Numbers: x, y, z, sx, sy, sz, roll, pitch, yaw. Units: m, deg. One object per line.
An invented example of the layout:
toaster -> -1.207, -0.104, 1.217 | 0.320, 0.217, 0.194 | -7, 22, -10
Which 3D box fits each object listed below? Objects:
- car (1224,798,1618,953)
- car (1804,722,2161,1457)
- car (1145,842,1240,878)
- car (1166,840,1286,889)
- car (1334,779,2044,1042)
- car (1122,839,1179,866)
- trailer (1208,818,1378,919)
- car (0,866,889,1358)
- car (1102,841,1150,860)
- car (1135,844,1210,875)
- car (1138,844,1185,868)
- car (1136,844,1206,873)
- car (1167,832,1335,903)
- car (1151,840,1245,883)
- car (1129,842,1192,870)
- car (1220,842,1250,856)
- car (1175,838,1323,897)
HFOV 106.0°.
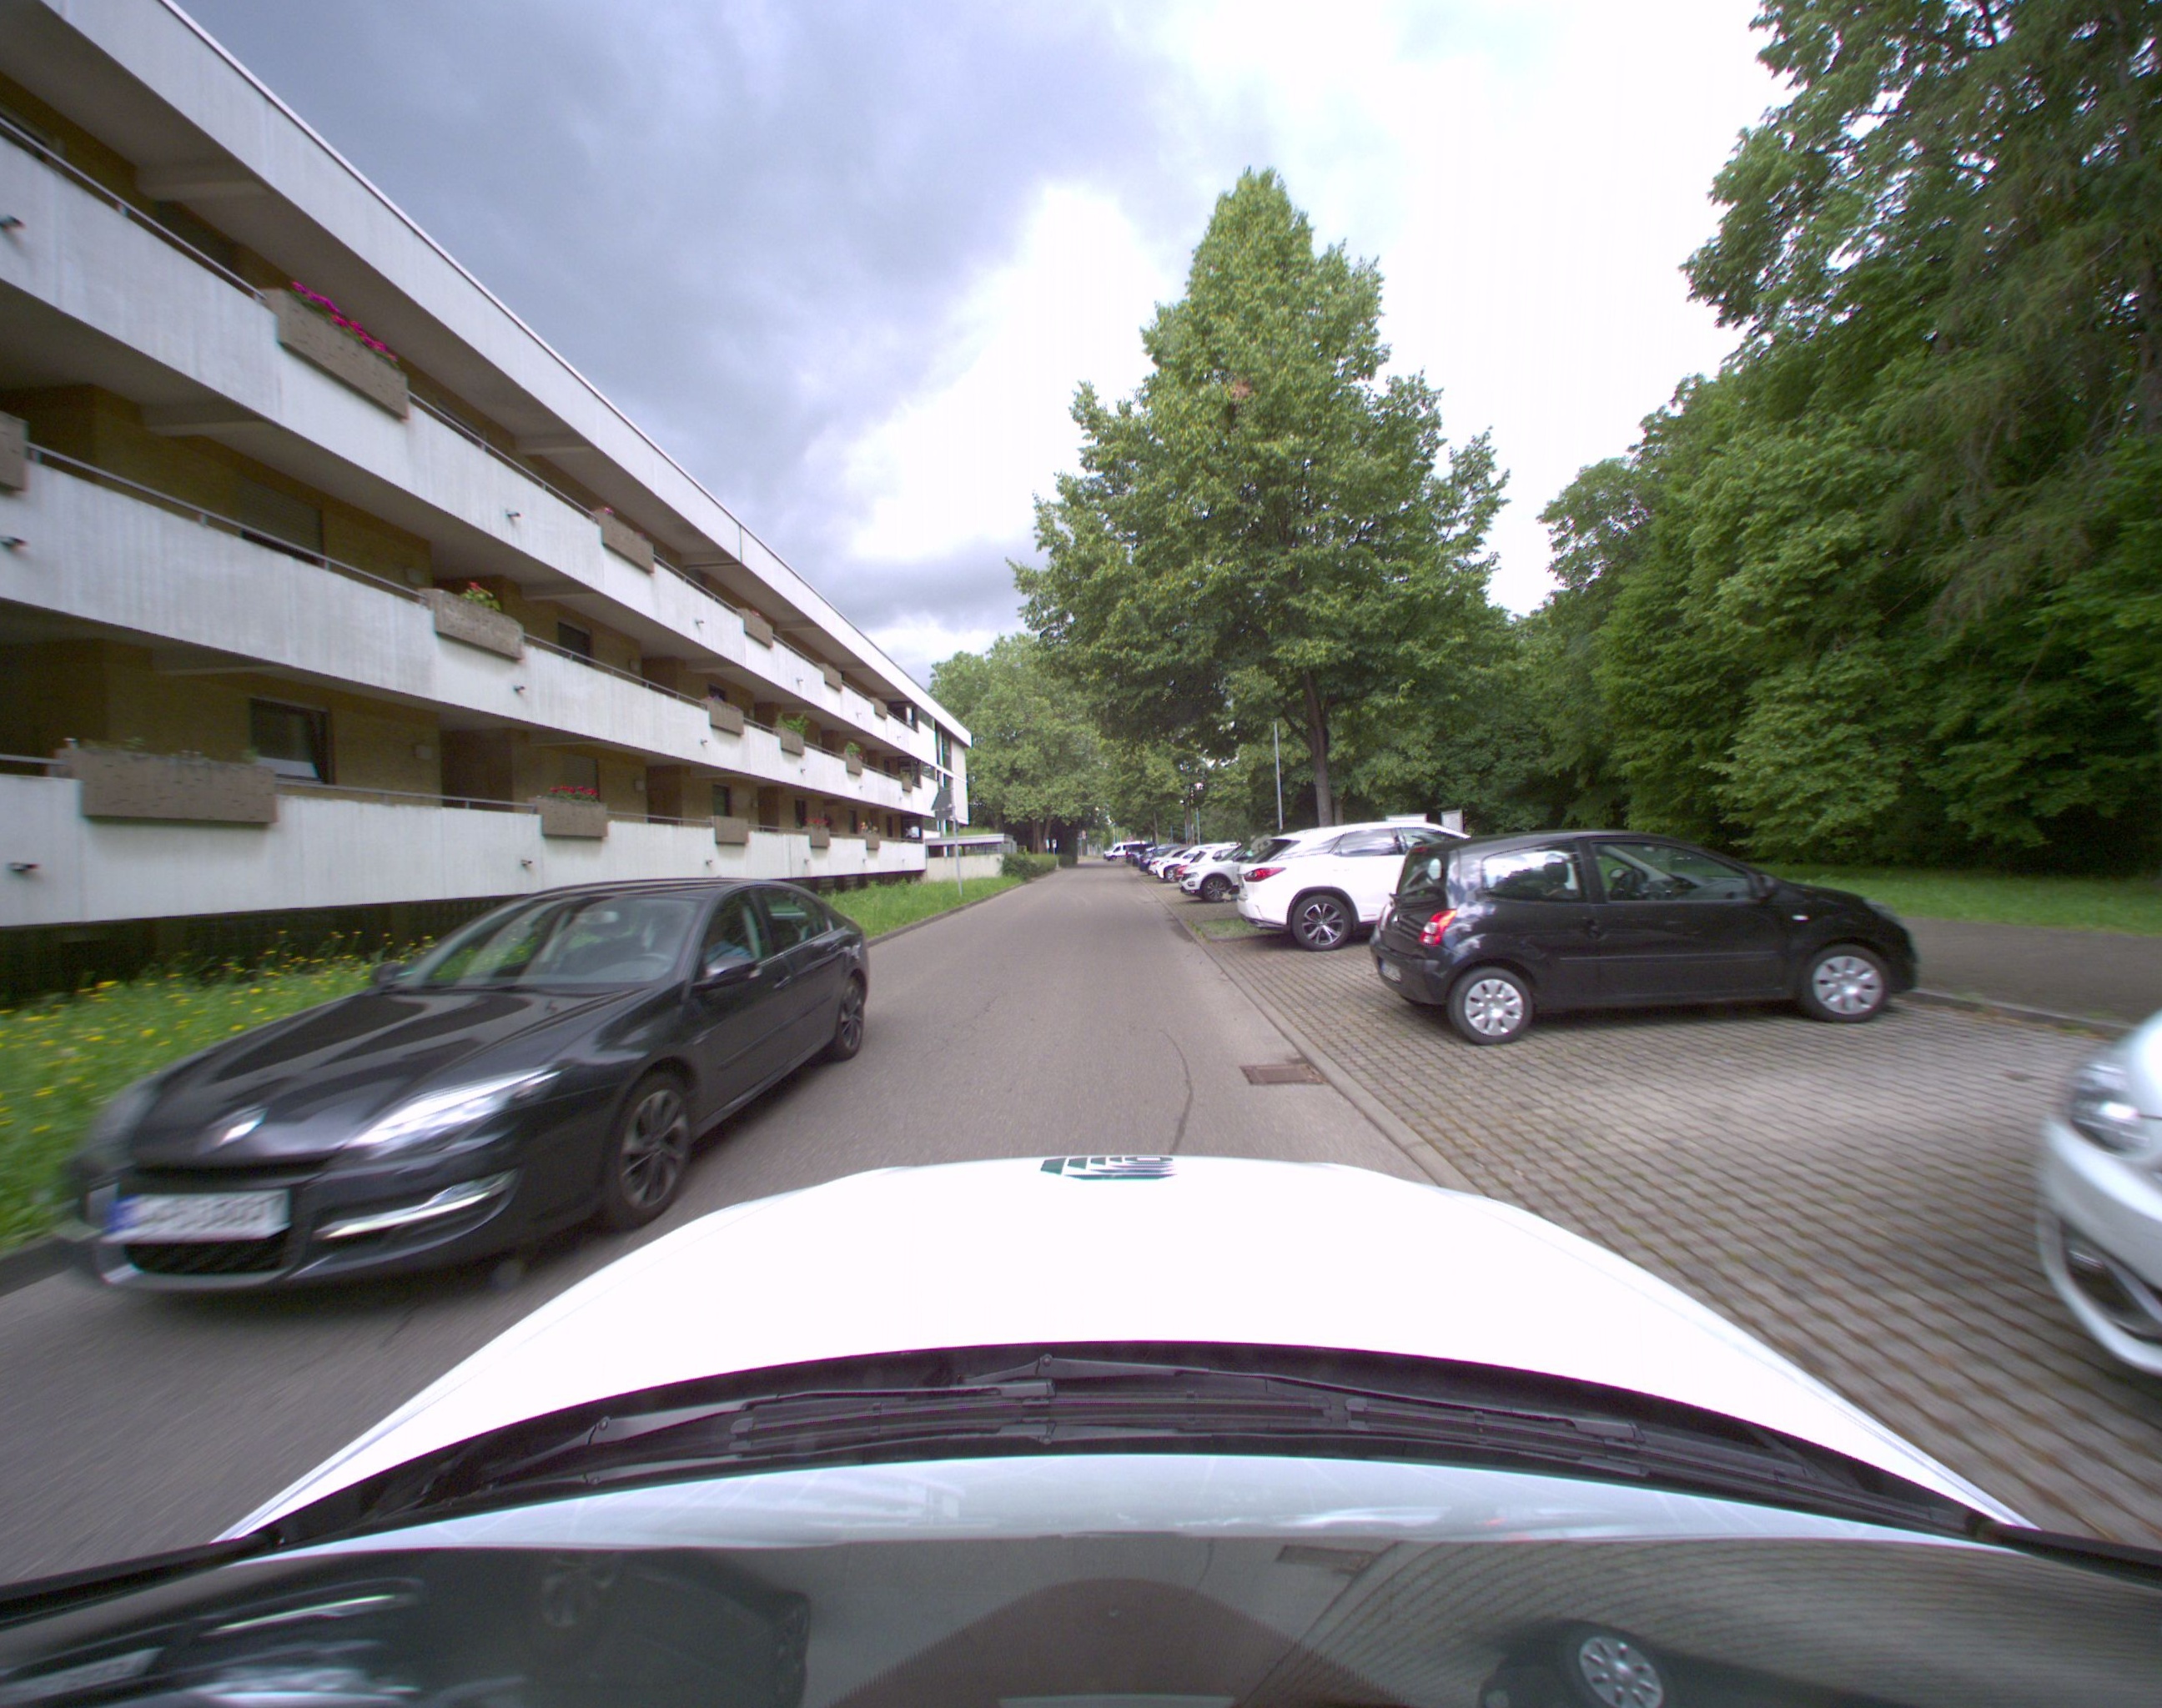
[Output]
car -> 4.617, 0.300, 11.738 | 4.795, 1.693, 1.977 | -4, 0, 5
car -> 4.350, 0.391, 1.697 | 4.148, 1.570, 1.784 | -3, 0, -3
car -> 5.567, 0.304, 41.014 | 4.469, 1.454, 1.847 | -4, 0, 1
car -> 5.258, 0.369, 29.904 | 4.041, 1.422, 1.817 | -4, 0, 0
car -> 4.380, 0.398, 6.472 | 4.141, 1.570, 1.853 | -3, 0, 3
car -> 6.362, -0.129, 74.750 | 4.934, 2.013, 2.167 | -5, 0, 3
trailer -> 4.338, 0.292, 16.985 | 3.021, 1.790, 1.562 | -4, 0, -1
car -> -2.660, 0.838, 4.737 | 1.906, 1.411, 4.425 | -2, 0, 1
car -> 6.250, -0.474, 112.465 | 6.267, 2.476, 2.128 | -2, 0, -15
car -> 5.149, 0.314, 46.164 | 4.056, 1.456, 1.852 | -4, 0, 2
car -> 6.098, 0.130, 61.931 | 3.366, 1.574, 1.797 | -4, 0, 2
car -> 5.632, 0.267, 51.315 | 4.062, 1.517, 1.850 | -4, 0, -2
car -> 4.548, 0.363, 22.192 | 4.101, 1.548, 1.860 | -4, 0, -1
car -> 5.000, 0.317, 35.236 | 3.823, 1.515, 1.883 | -4, 0, 4
car -> 5.756, 0.158, 59.332 | 4.399, 1.675, 2.083 | -4, 0, 1
car -> 20.196, -0.682, 106.808 | 3.757, 1.668, 1.772 | -3, 0, 9
car -> 5.046, 0.394, 24.777 | 4.000, 1.422, 1.790 | -4, 0, -4
